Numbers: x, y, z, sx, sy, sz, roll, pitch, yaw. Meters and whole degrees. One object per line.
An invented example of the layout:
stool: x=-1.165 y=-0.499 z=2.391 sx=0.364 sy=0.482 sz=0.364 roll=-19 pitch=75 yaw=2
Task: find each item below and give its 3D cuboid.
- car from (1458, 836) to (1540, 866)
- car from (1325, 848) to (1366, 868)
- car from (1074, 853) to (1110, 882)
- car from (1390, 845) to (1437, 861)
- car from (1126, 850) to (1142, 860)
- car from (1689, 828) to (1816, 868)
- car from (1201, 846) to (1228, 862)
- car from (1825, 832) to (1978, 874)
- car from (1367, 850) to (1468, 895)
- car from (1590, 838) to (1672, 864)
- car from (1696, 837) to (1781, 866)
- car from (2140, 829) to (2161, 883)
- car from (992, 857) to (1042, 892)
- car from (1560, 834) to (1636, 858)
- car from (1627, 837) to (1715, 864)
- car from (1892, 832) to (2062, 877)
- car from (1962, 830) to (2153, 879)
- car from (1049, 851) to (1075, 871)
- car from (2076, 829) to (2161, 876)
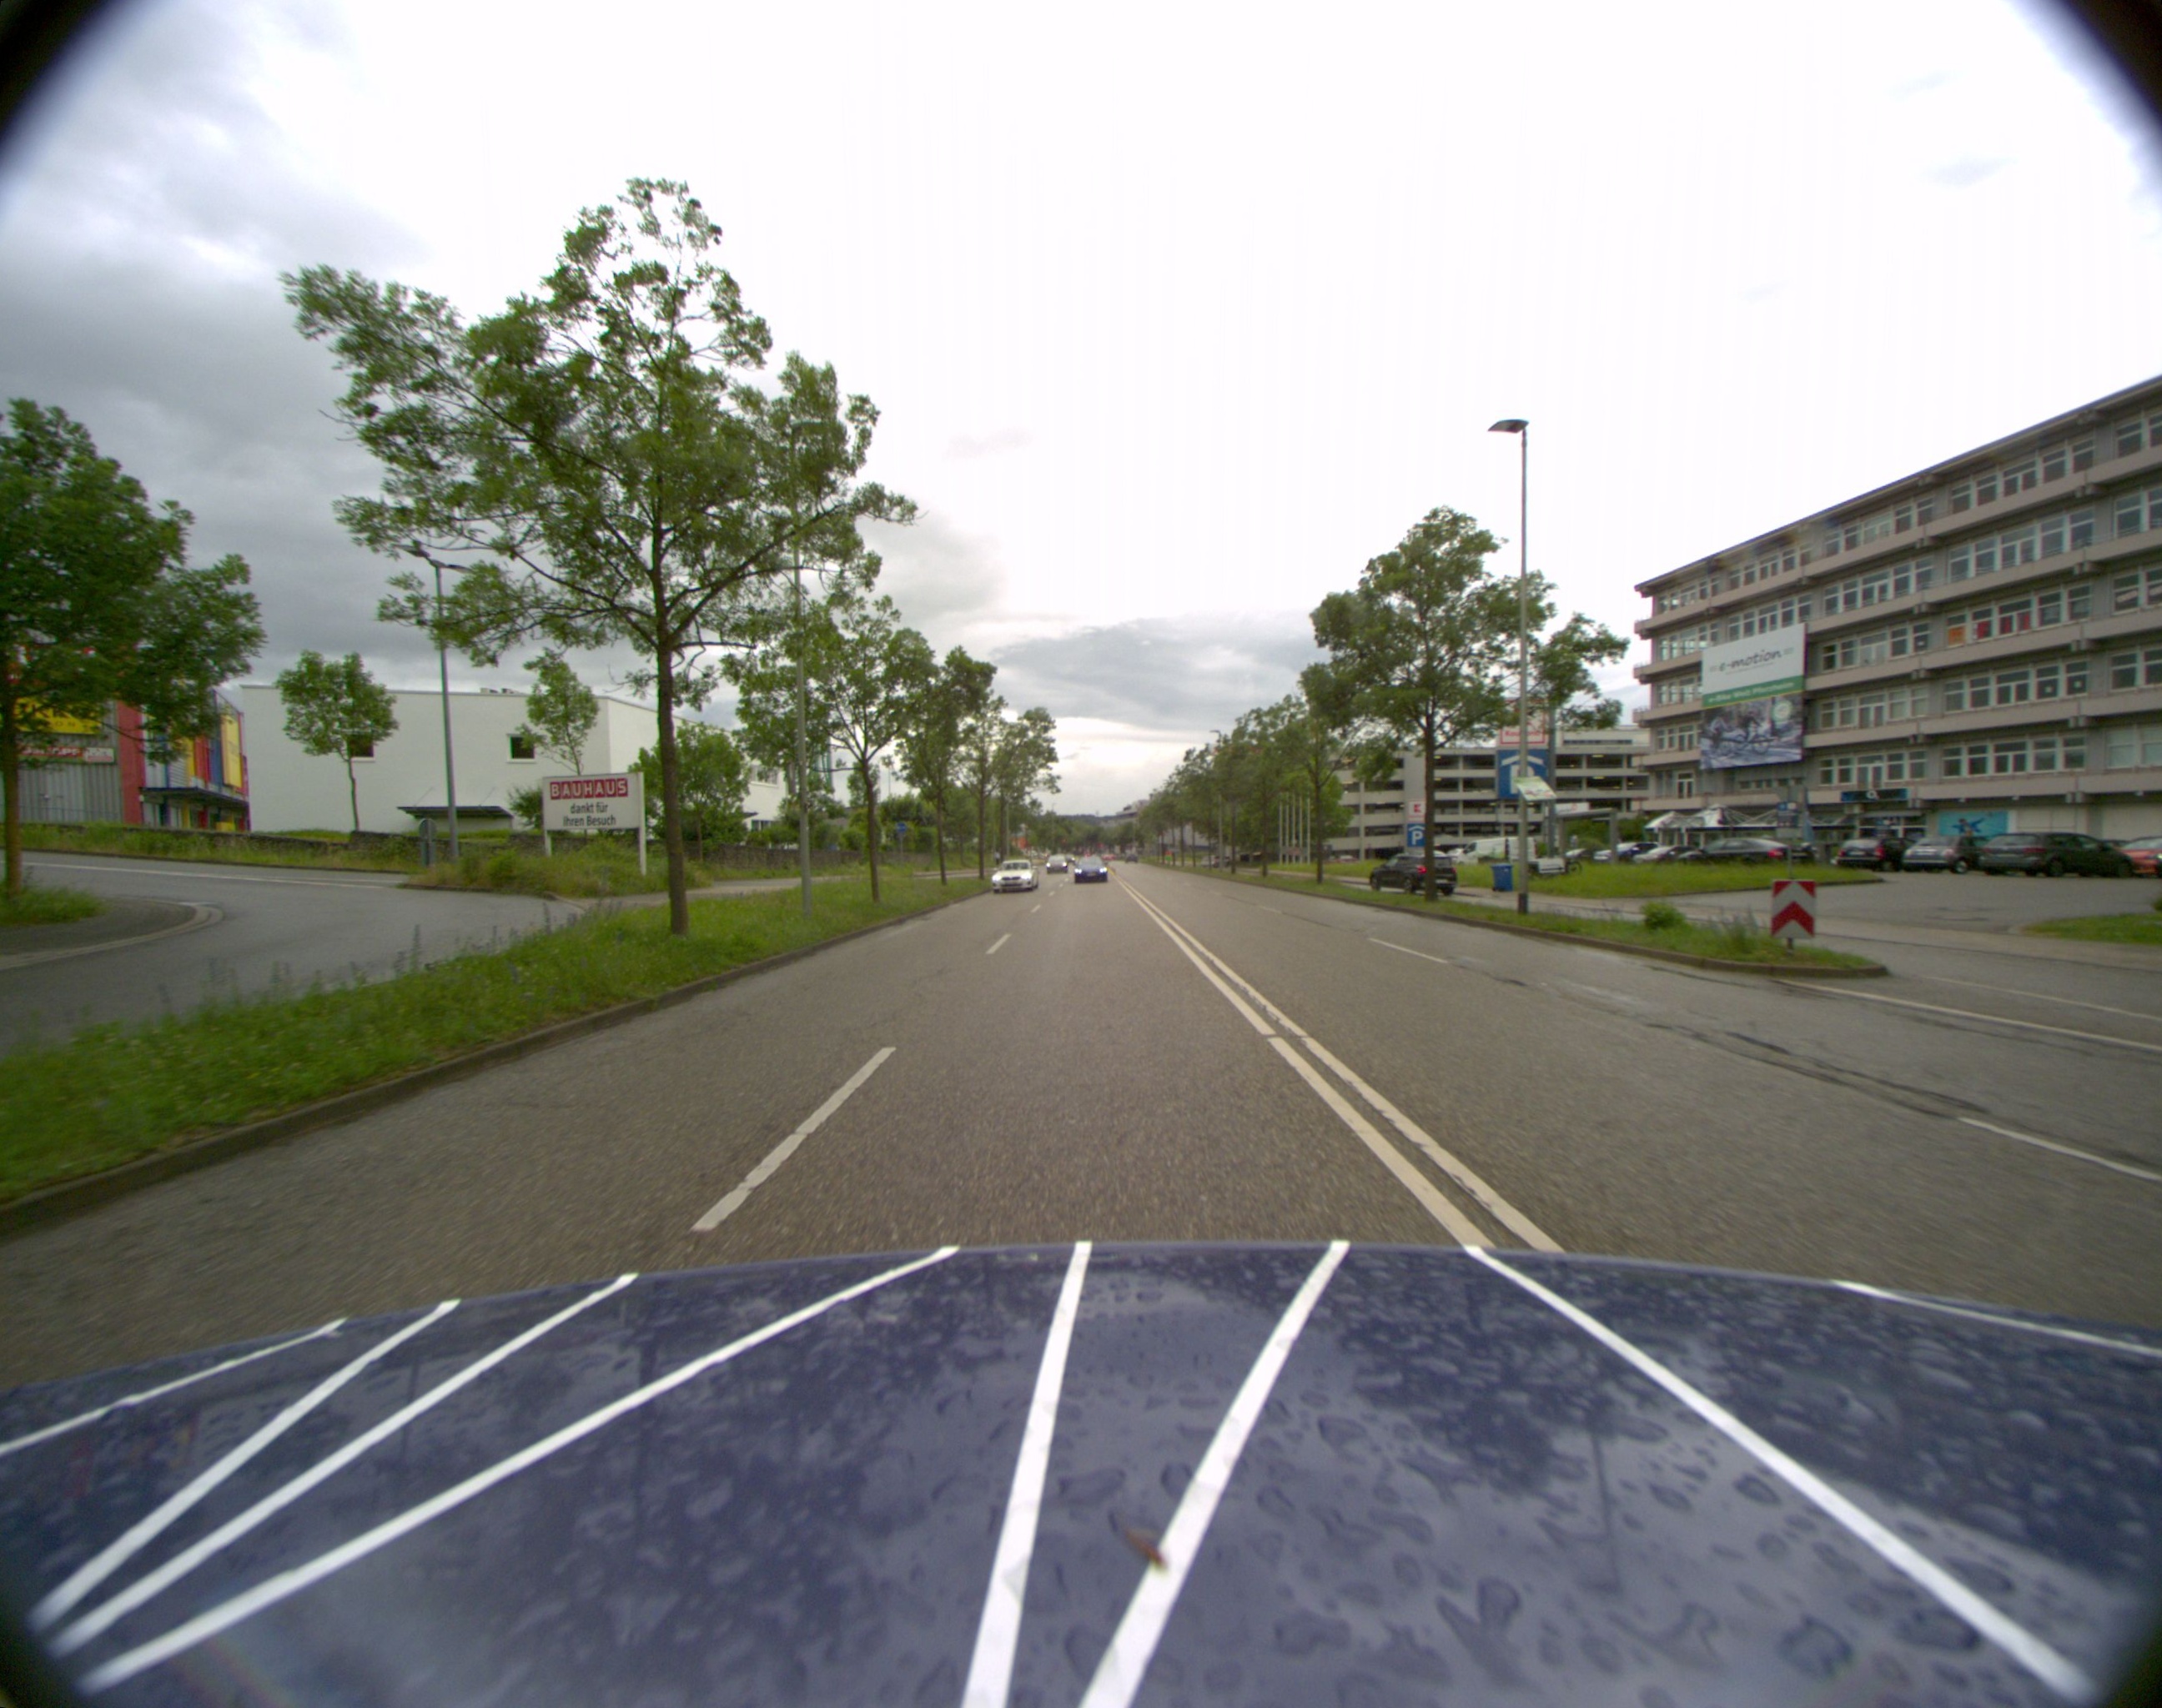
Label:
car: x=23.596 y=-0.170 z=43.085 sx=1.834 sy=1.608 sz=4.436 roll=-1 pitch=0 yaw=-7
car: x=21.804 y=0.328 z=62.878 sx=1.833 sy=1.608 sz=4.062 roll=-1 pitch=0 yaw=-2
car: x=0.592 y=0.700 z=42.544 sx=1.827 sy=1.473 sz=4.839 roll=-2 pitch=0 yaw=0
car: x=34.426 y=-0.072 z=78.754 sx=4.061 sy=1.608 sz=1.833 roll=-1 pitch=1 yaw=-3
car: x=8.509 y=0.148 z=122.414 sx=2.114 sy=1.610 sz=4.839 roll=1 pitch=0 yaw=0
car: x=23.977 y=-0.227 z=27.298 sx=1.509 sy=1.276 sz=3.449 roll=-2 pitch=1 yaw=0
car: x=15.484 y=0.044 z=88.233 sx=1.846 sy=1.839 sz=4.008 roll=0 pitch=0 yaw=29
car: x=33.851 y=-0.041 z=31.425 sx=4.437 sy=1.608 sz=1.833 roll=-1 pitch=1 yaw=-2
car: x=13.290 y=0.696 z=30.254 sx=1.834 sy=1.608 sz=3.997 roll=-2 pitch=0 yaw=-7
car: x=36.202 y=-0.209 z=50.056 sx=4.060 sy=1.608 sz=1.834 roll=-1 pitch=1 yaw=0
car: x=33.257 y=-0.129 z=38.554 sx=1.439 sy=1.414 sz=3.497 roll=-1 pitch=0 yaw=3
car: x=34.294 y=0.043 z=22.019 sx=4.435 sy=1.608 sz=1.834 roll=-1 pitch=1 yaw=3
car: x=-2.983 y=0.913 z=36.039 sx=1.864 sy=1.473 sz=4.000 roll=-2 pitch=0 yaw=2
car: x=35.937 y=-0.558 z=52.844 sx=4.060 sy=1.608 sz=1.834 roll=-1 pitch=1 yaw=0
car: x=36.998 y=-0.193 z=47.718 sx=4.060 sy=1.608 sz=1.834 roll=-1 pitch=1 yaw=0
car: x=34.014 y=-0.005 z=28.935 sx=4.437 sy=1.608 sz=1.833 roll=-1 pitch=1 yaw=-2
car: x=33.899 y=0.013 z=26.467 sx=4.437 sy=1.608 sz=1.833 roll=-1 pitch=1 yaw=-2
car: x=-1.668 y=0.596 z=68.314 sx=2.114 sy=1.610 sz=4.839 roll=-2 pitch=0 yaw=0
car: x=39.002 y=-0.080 z=27.268 sx=4.192 sy=1.608 sz=1.834 roll=-1 pitch=1 yaw=0
